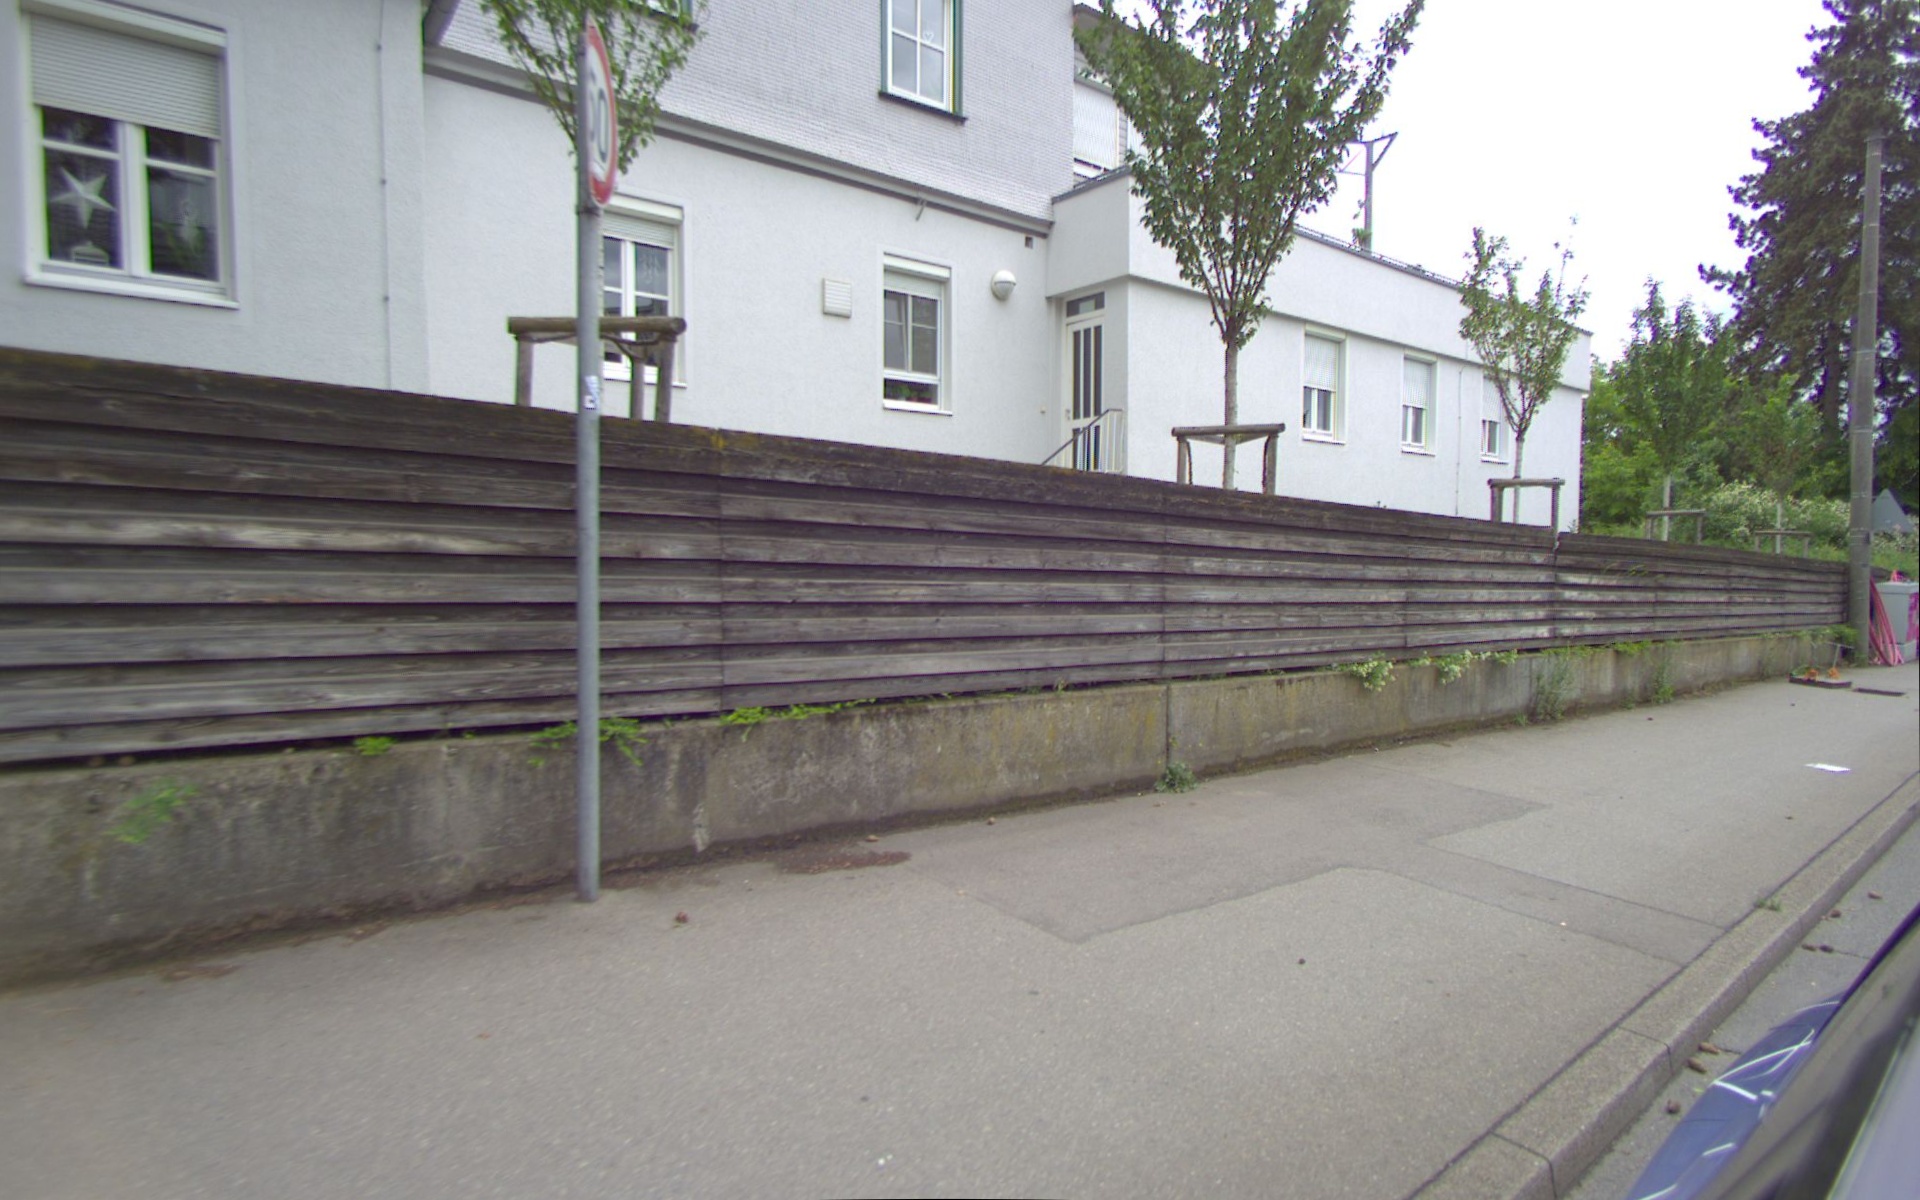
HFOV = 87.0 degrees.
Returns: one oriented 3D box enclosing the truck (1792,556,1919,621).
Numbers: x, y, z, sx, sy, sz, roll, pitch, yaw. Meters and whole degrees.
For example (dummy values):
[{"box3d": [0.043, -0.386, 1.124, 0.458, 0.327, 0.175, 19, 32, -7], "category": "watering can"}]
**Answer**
[{"box3d": [36.083, -0.486, 40.725, 2.379, 2.380, 6.138, 2, 2, 24], "category": "truck"}]
